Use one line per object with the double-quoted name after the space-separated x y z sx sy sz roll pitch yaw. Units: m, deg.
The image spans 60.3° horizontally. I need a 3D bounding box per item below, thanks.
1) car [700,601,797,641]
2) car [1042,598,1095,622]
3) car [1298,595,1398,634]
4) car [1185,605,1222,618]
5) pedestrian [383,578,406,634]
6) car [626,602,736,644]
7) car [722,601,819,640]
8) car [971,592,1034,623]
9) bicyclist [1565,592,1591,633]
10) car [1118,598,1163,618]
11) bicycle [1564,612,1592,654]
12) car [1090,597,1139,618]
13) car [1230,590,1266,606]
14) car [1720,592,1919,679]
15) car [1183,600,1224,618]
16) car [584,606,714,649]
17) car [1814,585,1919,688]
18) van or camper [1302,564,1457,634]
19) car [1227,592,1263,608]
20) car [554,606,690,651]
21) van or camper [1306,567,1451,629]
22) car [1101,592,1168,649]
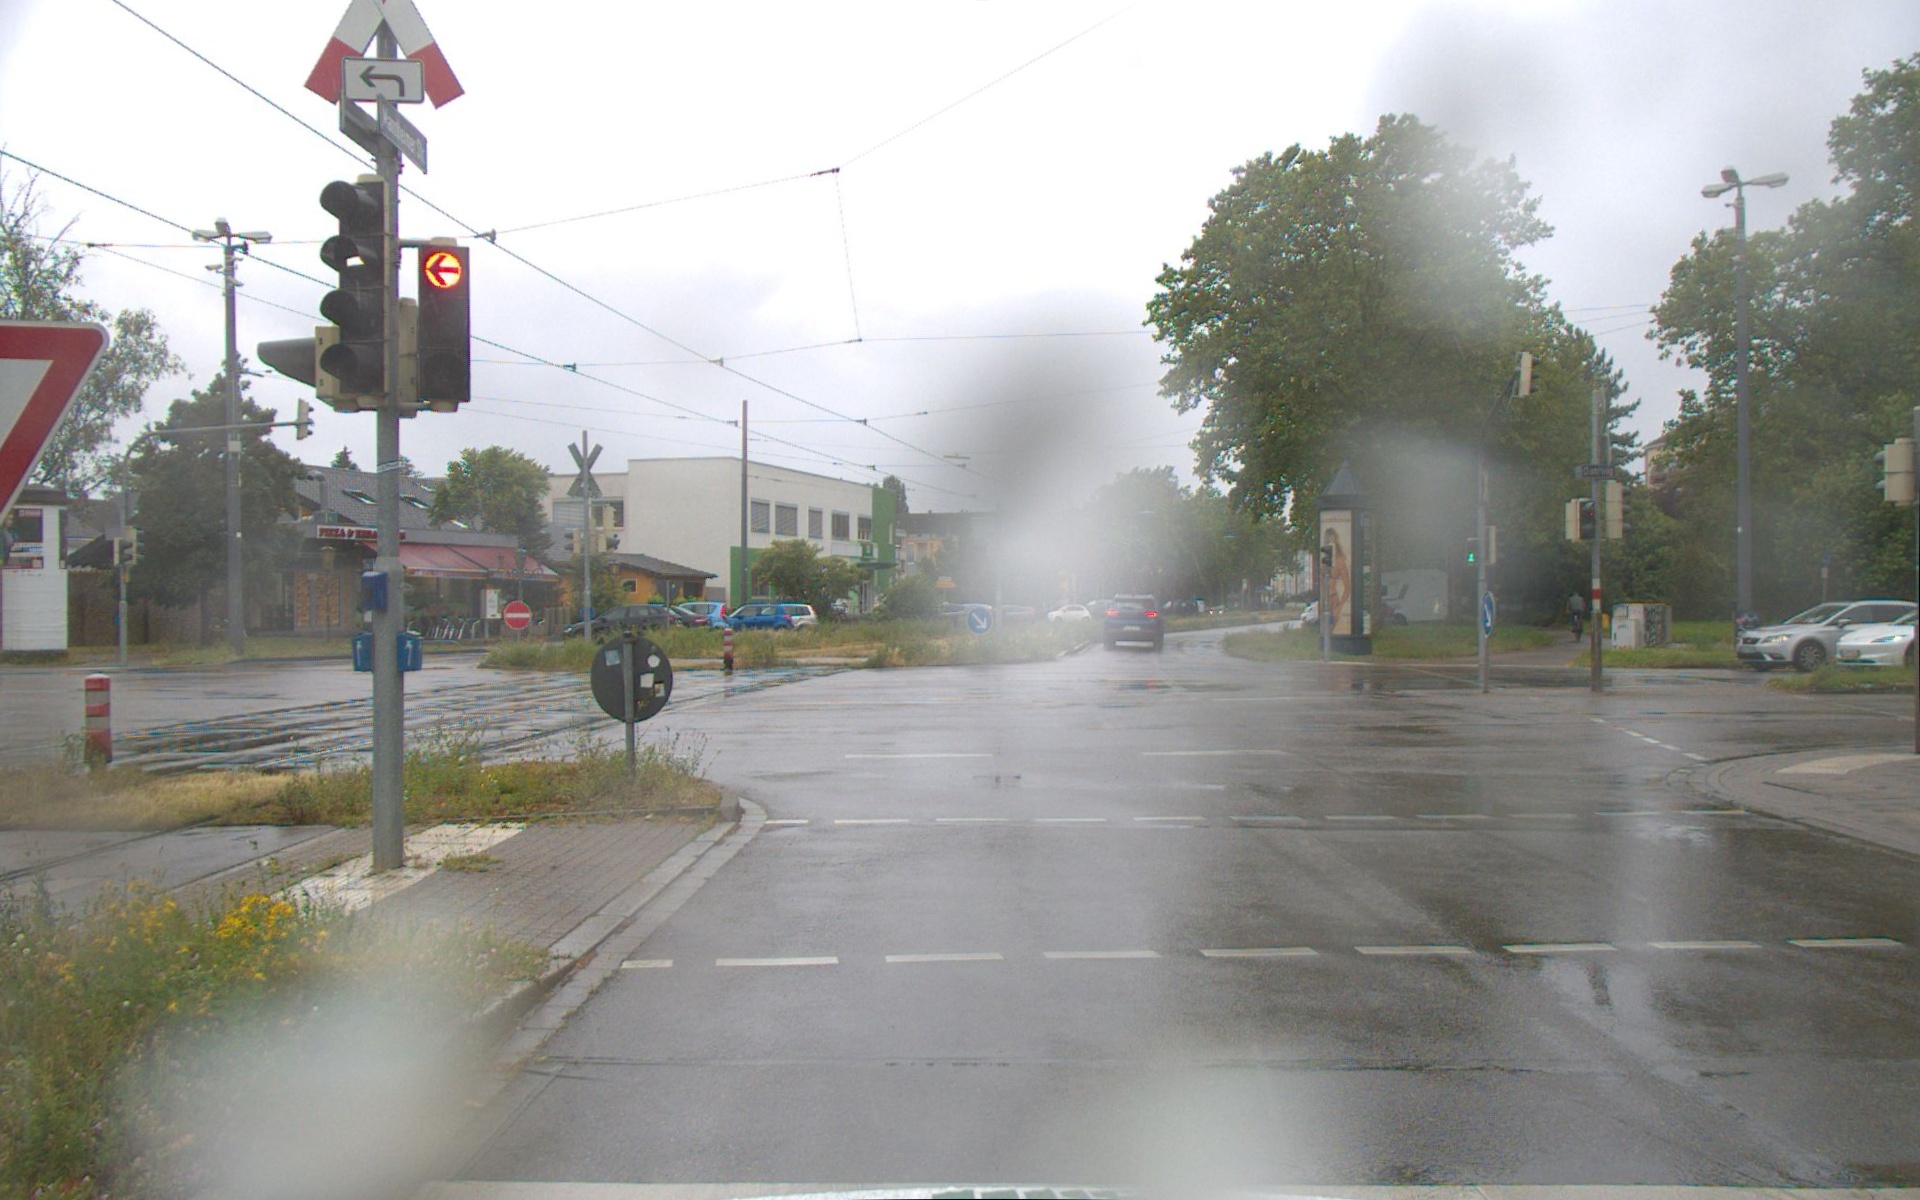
-8.916 0.877 69.646 3.916 1.609 1.924 0 0 -12 "car"
8.304 0.747 126.690 3.706 1.732 1.832 1 0 -11 "car"
18.255 0.661 77.840 4.352 1.747 2.000 1 0 21 "car"
26.987 1.267 183.440 3.806 1.378 1.762 1 0 2 "car"
-20.766 0.224 60.754 0.713 2.049 0.789 1 -1 -23 "pedestrian"
-10.887 0.895 64.613 3.903 1.609 1.859 0 0 4 "car"
-8.360 0.877 72.779 4.040 1.670 1.922 0 0 -15 "car"
2.814 0.501 110.194 3.911 1.920 1.997 1 0 -7 "car"
22.266 0.464 59.592 0.843 1.450 0.957 1 -1 19 "bicyclist"
17.361 0.740 159.174 3.909 1.864 1.998 1 0 -5 "car"
22.200 1.159 59.415 0.843 1.450 2.704 1 0 19 "bicycle"
13.529 0.652 145.084 3.916 1.789 2.004 1 0 -12 "car"
35.508 -0.226 203.964 3.909 1.864 1.998 1 0 -5 "car"
18.468 0.733 34.616 4.309 1.721 1.931 1 0 -7 "car"
25.643 0.947 174.227 3.909 1.864 1.998 1 0 -5 "car"
-11.460 0.997 61.215 4.405 1.443 1.858 -2 0 0 "car"
18.869 0.705 31.309 4.506 1.860 1.931 1 0 -7 "car"
20.510 -0.042 80.796 7.168 3.234 3.264 1 0 17 "van or camper"
34.300 -0.029 199.211 3.909 1.864 1.998 1 0 -5 "car"
-11.981 0.995 58.799 4.385 1.443 1.858 -2 0 0 "car"
22.816 -0.117 90.039 7.274 3.234 3.262 1 0 22 "van or camper"
5.513 0.644 52.648 1.769 1.716 3.912 1 0 1 "car"
